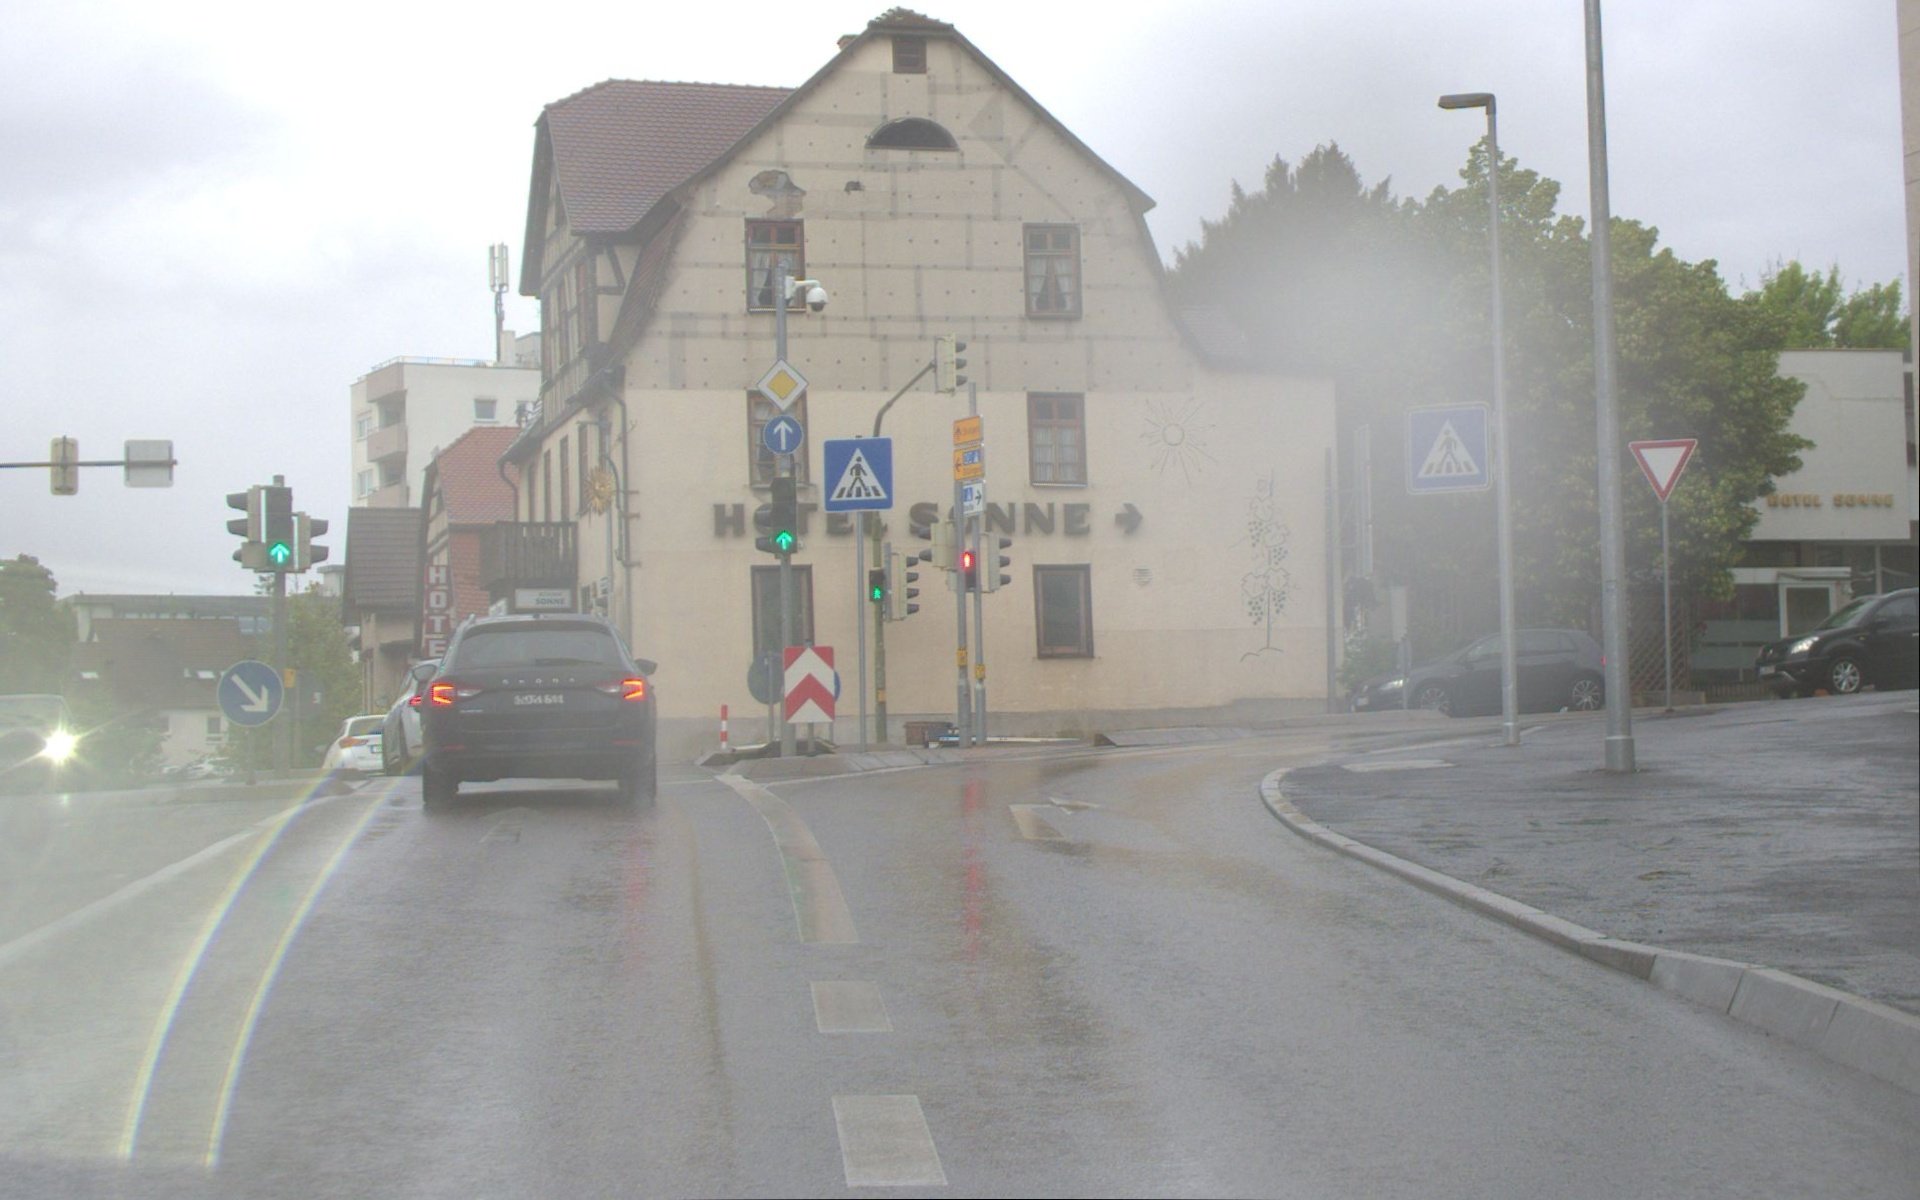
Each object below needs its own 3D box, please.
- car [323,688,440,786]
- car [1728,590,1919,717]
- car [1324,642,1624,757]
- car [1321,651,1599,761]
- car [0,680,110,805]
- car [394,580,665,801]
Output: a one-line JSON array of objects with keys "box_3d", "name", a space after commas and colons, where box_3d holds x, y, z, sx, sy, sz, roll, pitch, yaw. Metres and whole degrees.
[{"box_3d": [-10.062, 2.357, 59.727, 1.886, 1.462, 4.001, -3, 0, -10], "name": "car"}, {"box_3d": [15.119, 0.842, 56.728, 4.301, 1.810, 1.778, -3, -4, -16], "name": "car"}, {"box_3d": [8.226, 1.597, 55.087, 4.301, 1.500, 1.778, -3, -4, -18], "name": "car"}, {"box_3d": [8.428, 1.797, 58.015, 4.171, 1.514, 1.778, -3, -4, -16], "name": "car"}, {"box_3d": [-12.516, 1.893, 46.044, 1.886, 1.462, 4.001, -3, 0, -10], "name": "car"}, {"box_3d": [-3.358, 0.655, 27.565, 1.944, 1.561, 4.418, -1, 1, -5], "name": "car"}]
